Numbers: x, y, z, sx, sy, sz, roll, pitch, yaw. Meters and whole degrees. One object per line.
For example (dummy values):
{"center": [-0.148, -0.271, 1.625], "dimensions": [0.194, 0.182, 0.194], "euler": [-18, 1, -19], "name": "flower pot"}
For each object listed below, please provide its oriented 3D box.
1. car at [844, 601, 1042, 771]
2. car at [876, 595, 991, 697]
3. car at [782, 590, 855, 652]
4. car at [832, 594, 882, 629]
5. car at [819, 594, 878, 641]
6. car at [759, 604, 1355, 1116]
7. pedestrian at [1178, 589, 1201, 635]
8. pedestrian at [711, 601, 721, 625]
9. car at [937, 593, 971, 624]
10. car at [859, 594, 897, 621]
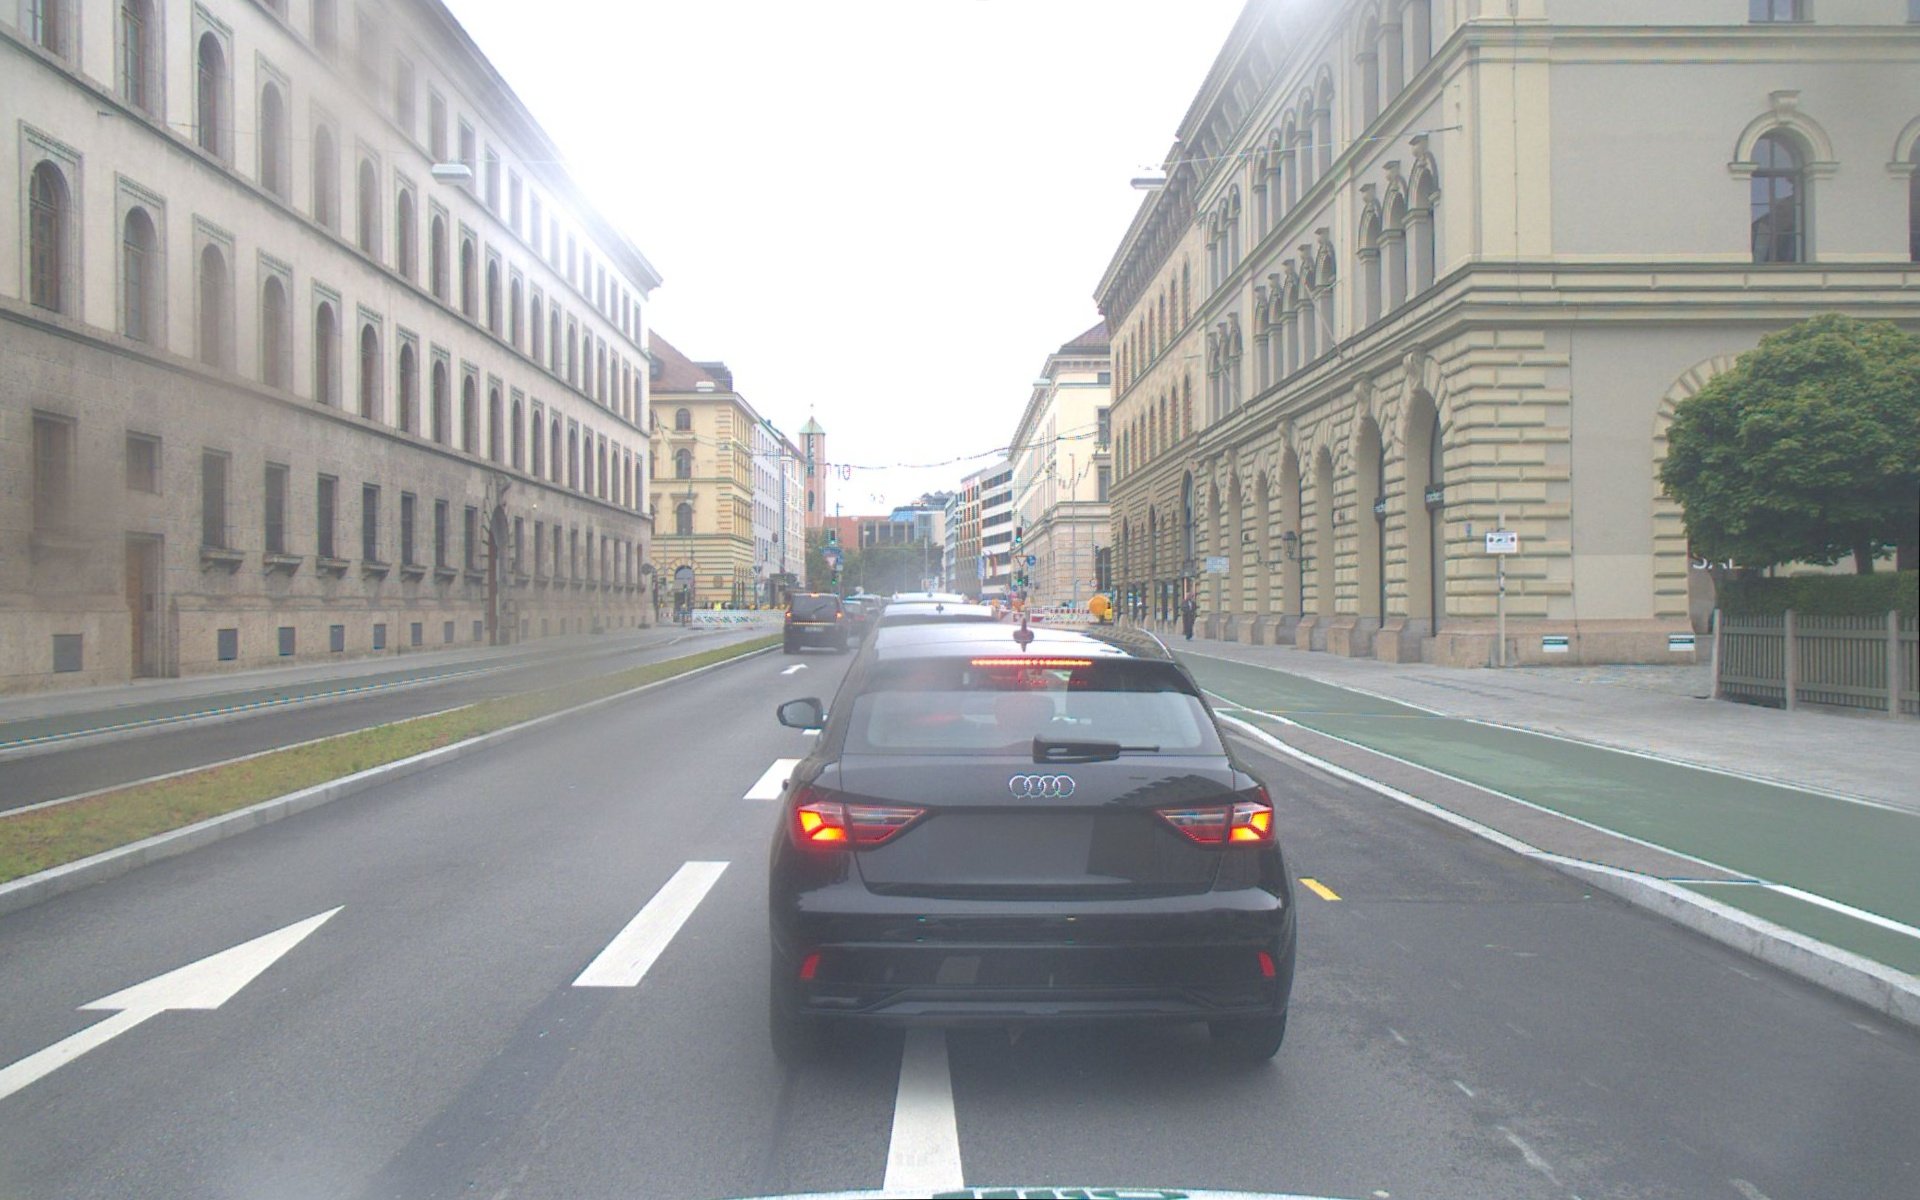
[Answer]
{"center": [-0.184, 0.750, 16.308], "dimensions": [1.695, 1.427, 3.999], "euler": [1, 0, -1], "name": "car"}
{"center": [-0.435, 0.681, 26.610], "dimensions": [1.695, 1.486, 3.999], "euler": [1, 0, -1], "name": "car"}
{"center": [-3.889, 0.553, 45.971], "dimensions": [1.729, 1.644, 4.029], "euler": [1, 0, -1], "name": "car"}
{"center": [-4.422, 0.482, 71.790], "dimensions": [1.953, 1.469, 3.999], "euler": [0, 0, -1], "name": "car"}
{"center": [-4.123, 0.624, 61.475], "dimensions": [1.953, 1.656, 3.999], "euler": [0, 0, -1], "name": "car"}
{"center": [0.246, 0.756, 6.750], "dimensions": [1.695, 1.427, 3.999], "euler": [1, 0, -1], "name": "car"}
{"center": [8.264, 0.440, 59.597], "dimensions": [0.695, 1.646, 0.754], "euler": [0, 0, -2], "name": "pedestrian"}
{"center": [-18.312, 0.965, 123.945], "dimensions": [0.642, 1.836, 0.727], "euler": [0, 0, -2], "name": "pedestrian"}
{"center": [-0.378, 0.494, 96.343], "dimensions": [1.910, 1.691, 3.999], "euler": [1, -1, -1], "name": "car"}
{"center": [-4.536, 0.421, 92.352], "dimensions": [1.953, 1.469, 3.999], "euler": [0, 0, -1], "name": "car"}
